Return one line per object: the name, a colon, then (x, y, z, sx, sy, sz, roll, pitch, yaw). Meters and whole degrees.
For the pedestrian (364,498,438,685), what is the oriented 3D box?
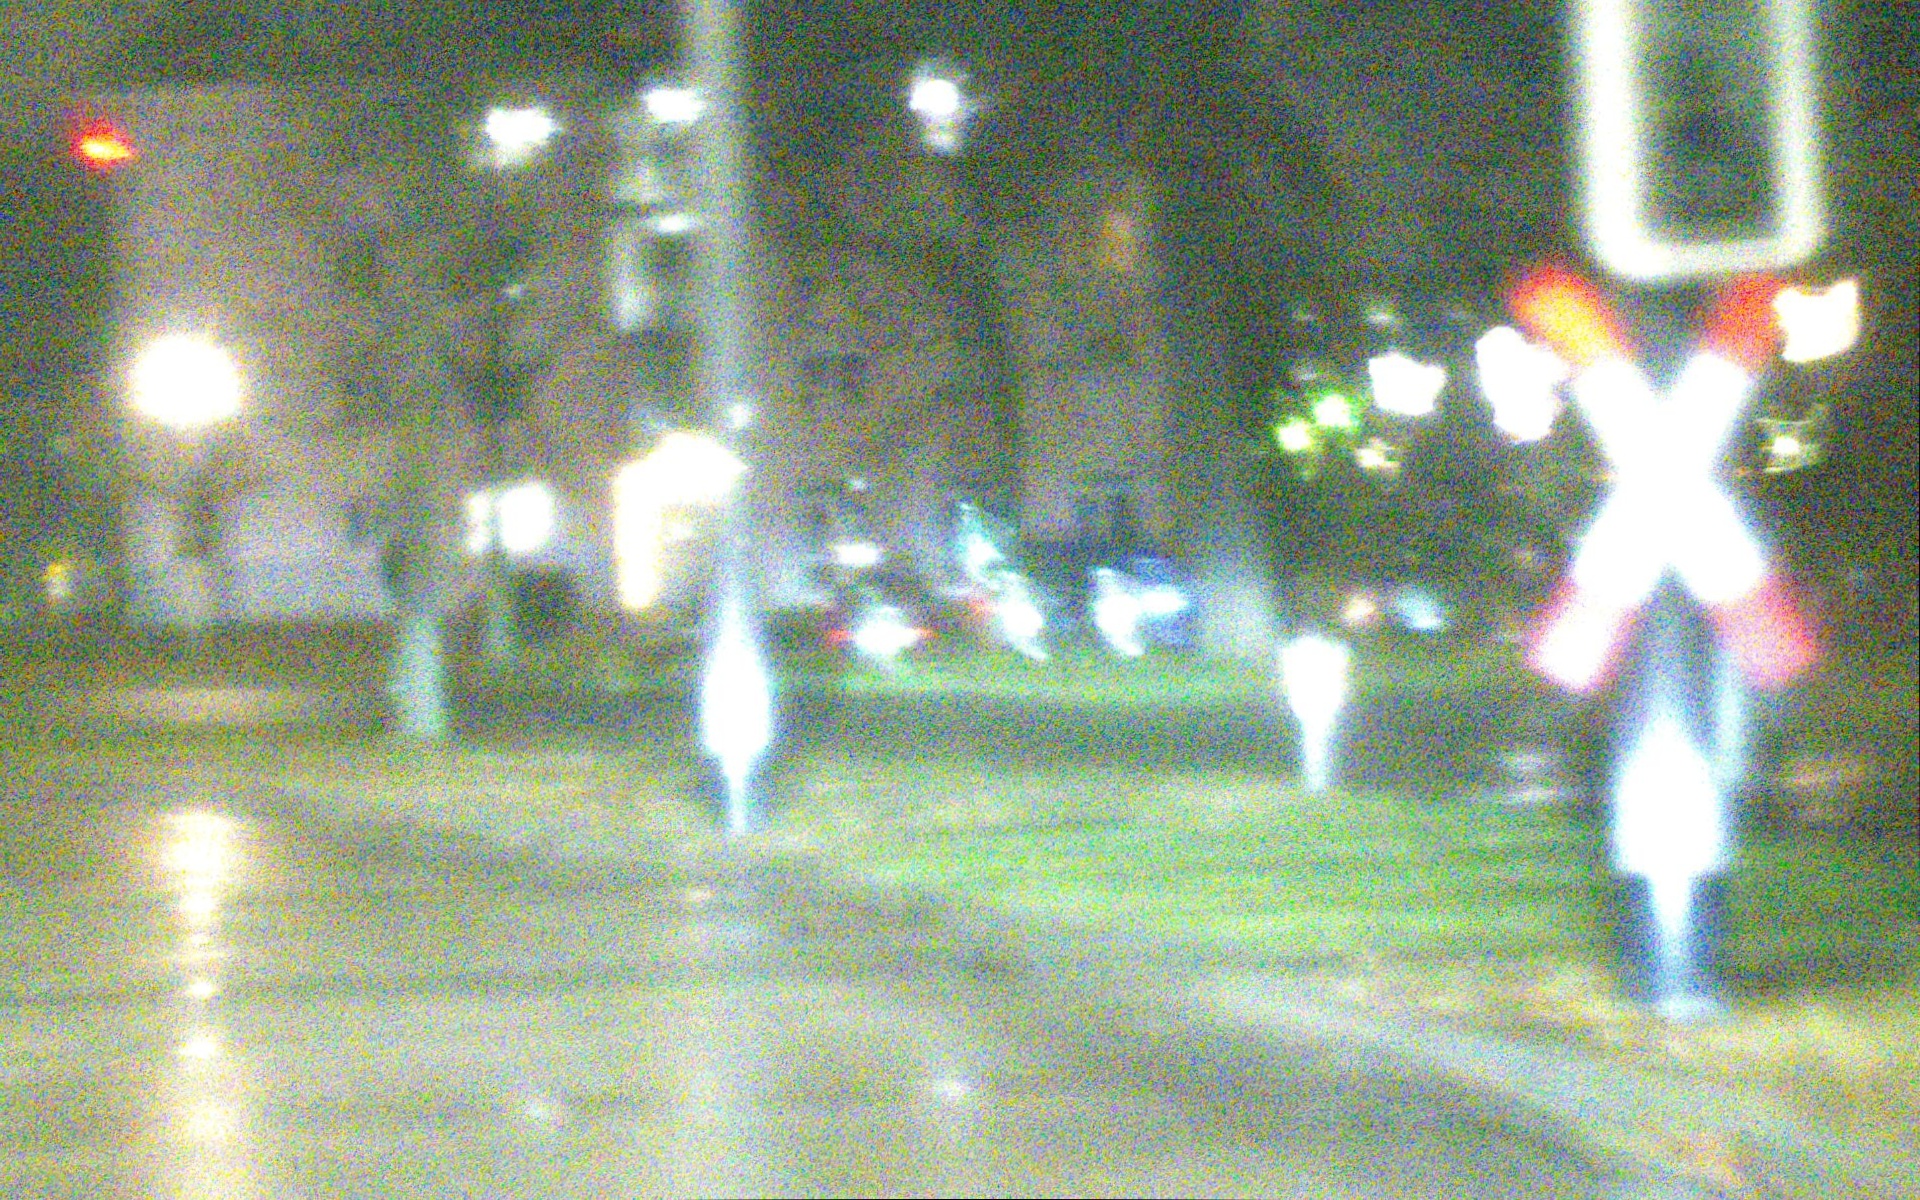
pedestrian: (-5.738, -0.087, 35.251, 0.652, 1.895, 0.729, 0, 0, -16)

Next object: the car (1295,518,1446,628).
car: (5.800, -0.381, 48.922, 1.716, 1.491, 3.912, 0, 0, 1)

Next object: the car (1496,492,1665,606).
car: (8.748, -0.711, 48.749, 1.716, 1.531, 3.912, 0, 0, 1)

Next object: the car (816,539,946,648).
car: (-1.101, -0.109, 49.340, 1.716, 1.491, 3.912, 0, 0, 1)

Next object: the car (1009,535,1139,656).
car: (1.577, -0.033, 48.792, 1.716, 1.492, 3.911, -2, -3, 1)

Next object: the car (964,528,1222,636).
car: (2.132, -0.292, 55.093, 4.055, 1.676, 1.792, 0, 0, 3)
